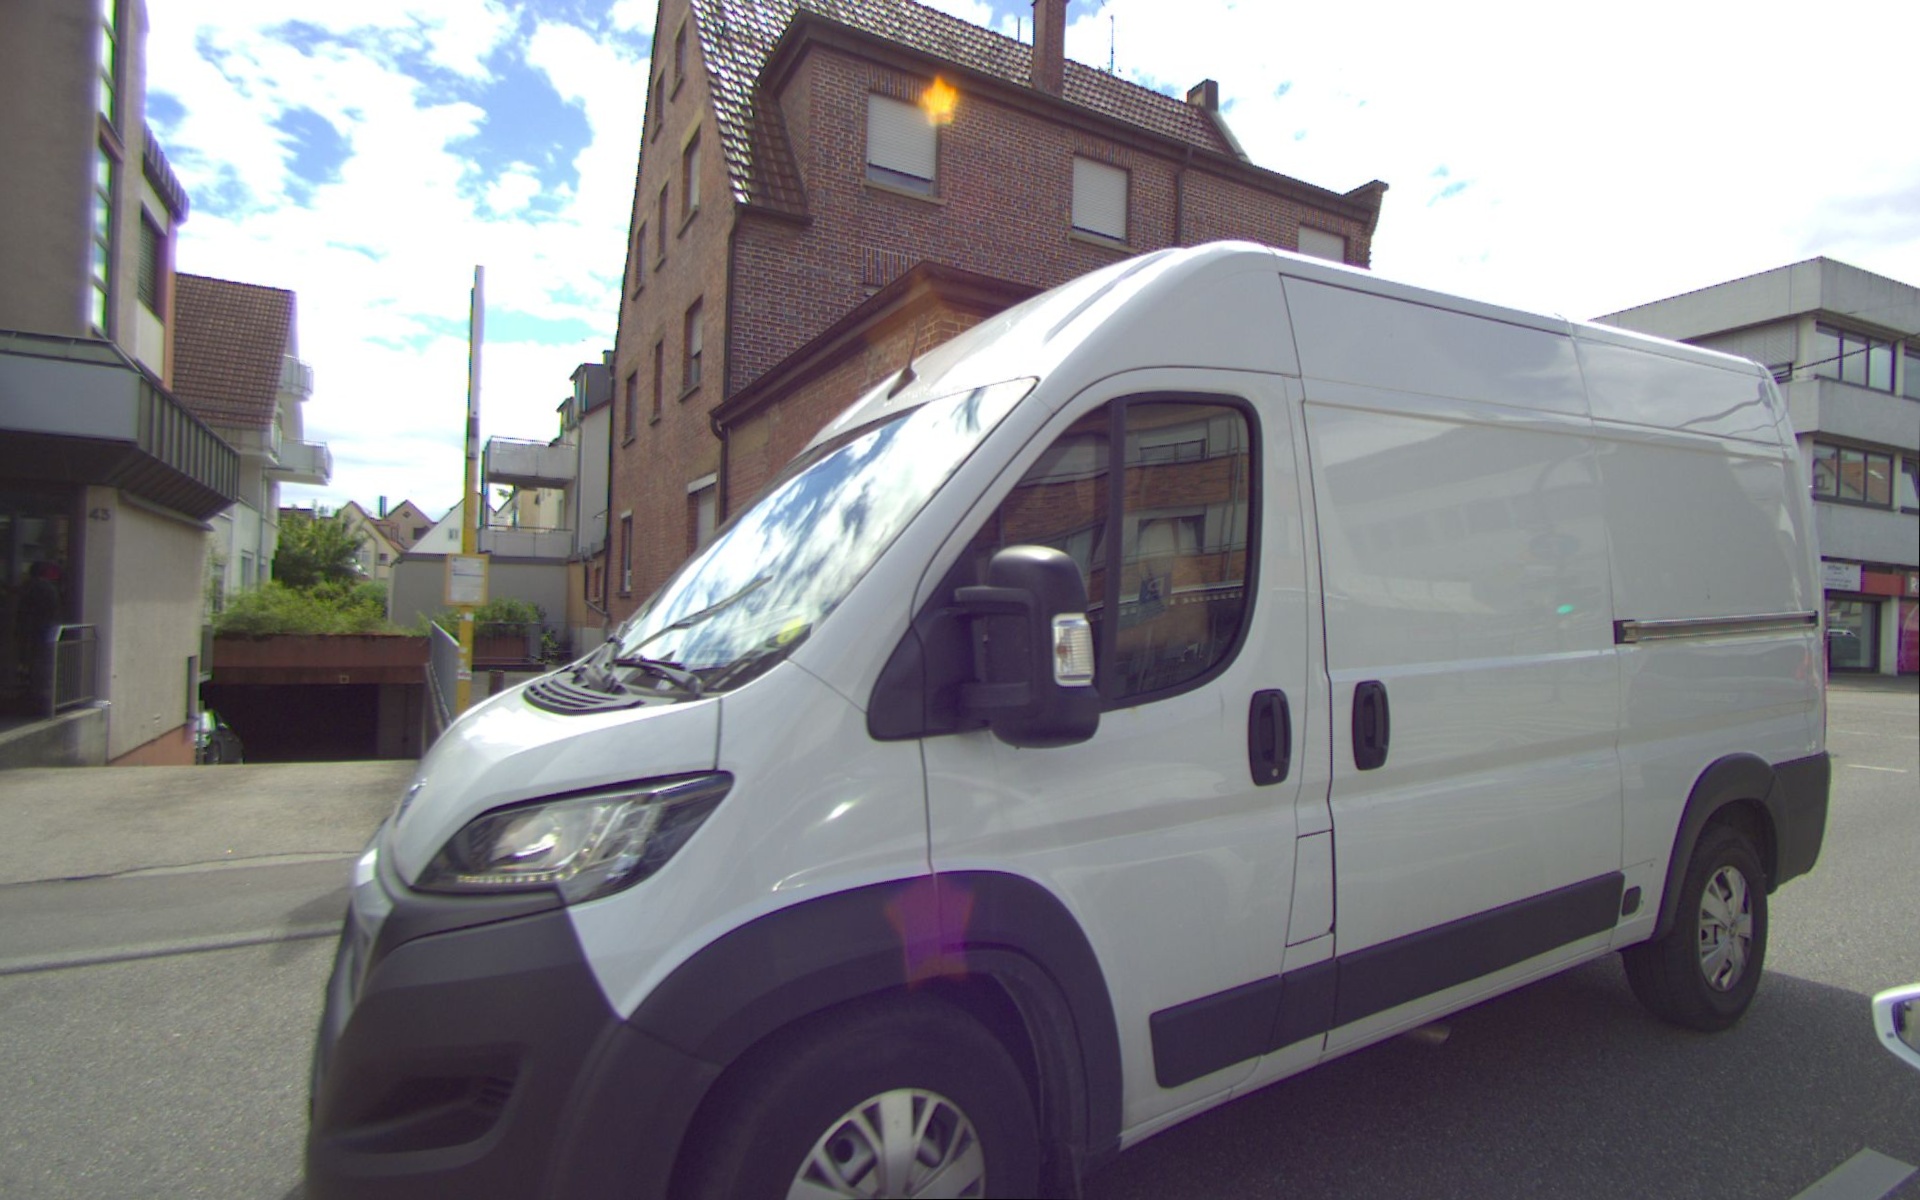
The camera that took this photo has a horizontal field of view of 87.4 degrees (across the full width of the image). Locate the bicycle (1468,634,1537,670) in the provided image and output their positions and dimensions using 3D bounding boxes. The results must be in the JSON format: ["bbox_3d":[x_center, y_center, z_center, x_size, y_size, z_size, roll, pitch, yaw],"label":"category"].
[{"bbox_3d":[17.838,1.695,33.073,0.769,1.157,1.867,3,-3,-38],"label":"bicycle"}]

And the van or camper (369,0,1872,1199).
[{"bbox_3d":[0.960,0.193,3.695,5.376,2.590,2.137,1,-1,-32],"label":"van or camper"}]

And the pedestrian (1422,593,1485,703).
[{"bbox_3d":[8.373,0.807,17.043,0.712,1.820,0.622,3,-1,-31],"label":"pedestrian"}]
